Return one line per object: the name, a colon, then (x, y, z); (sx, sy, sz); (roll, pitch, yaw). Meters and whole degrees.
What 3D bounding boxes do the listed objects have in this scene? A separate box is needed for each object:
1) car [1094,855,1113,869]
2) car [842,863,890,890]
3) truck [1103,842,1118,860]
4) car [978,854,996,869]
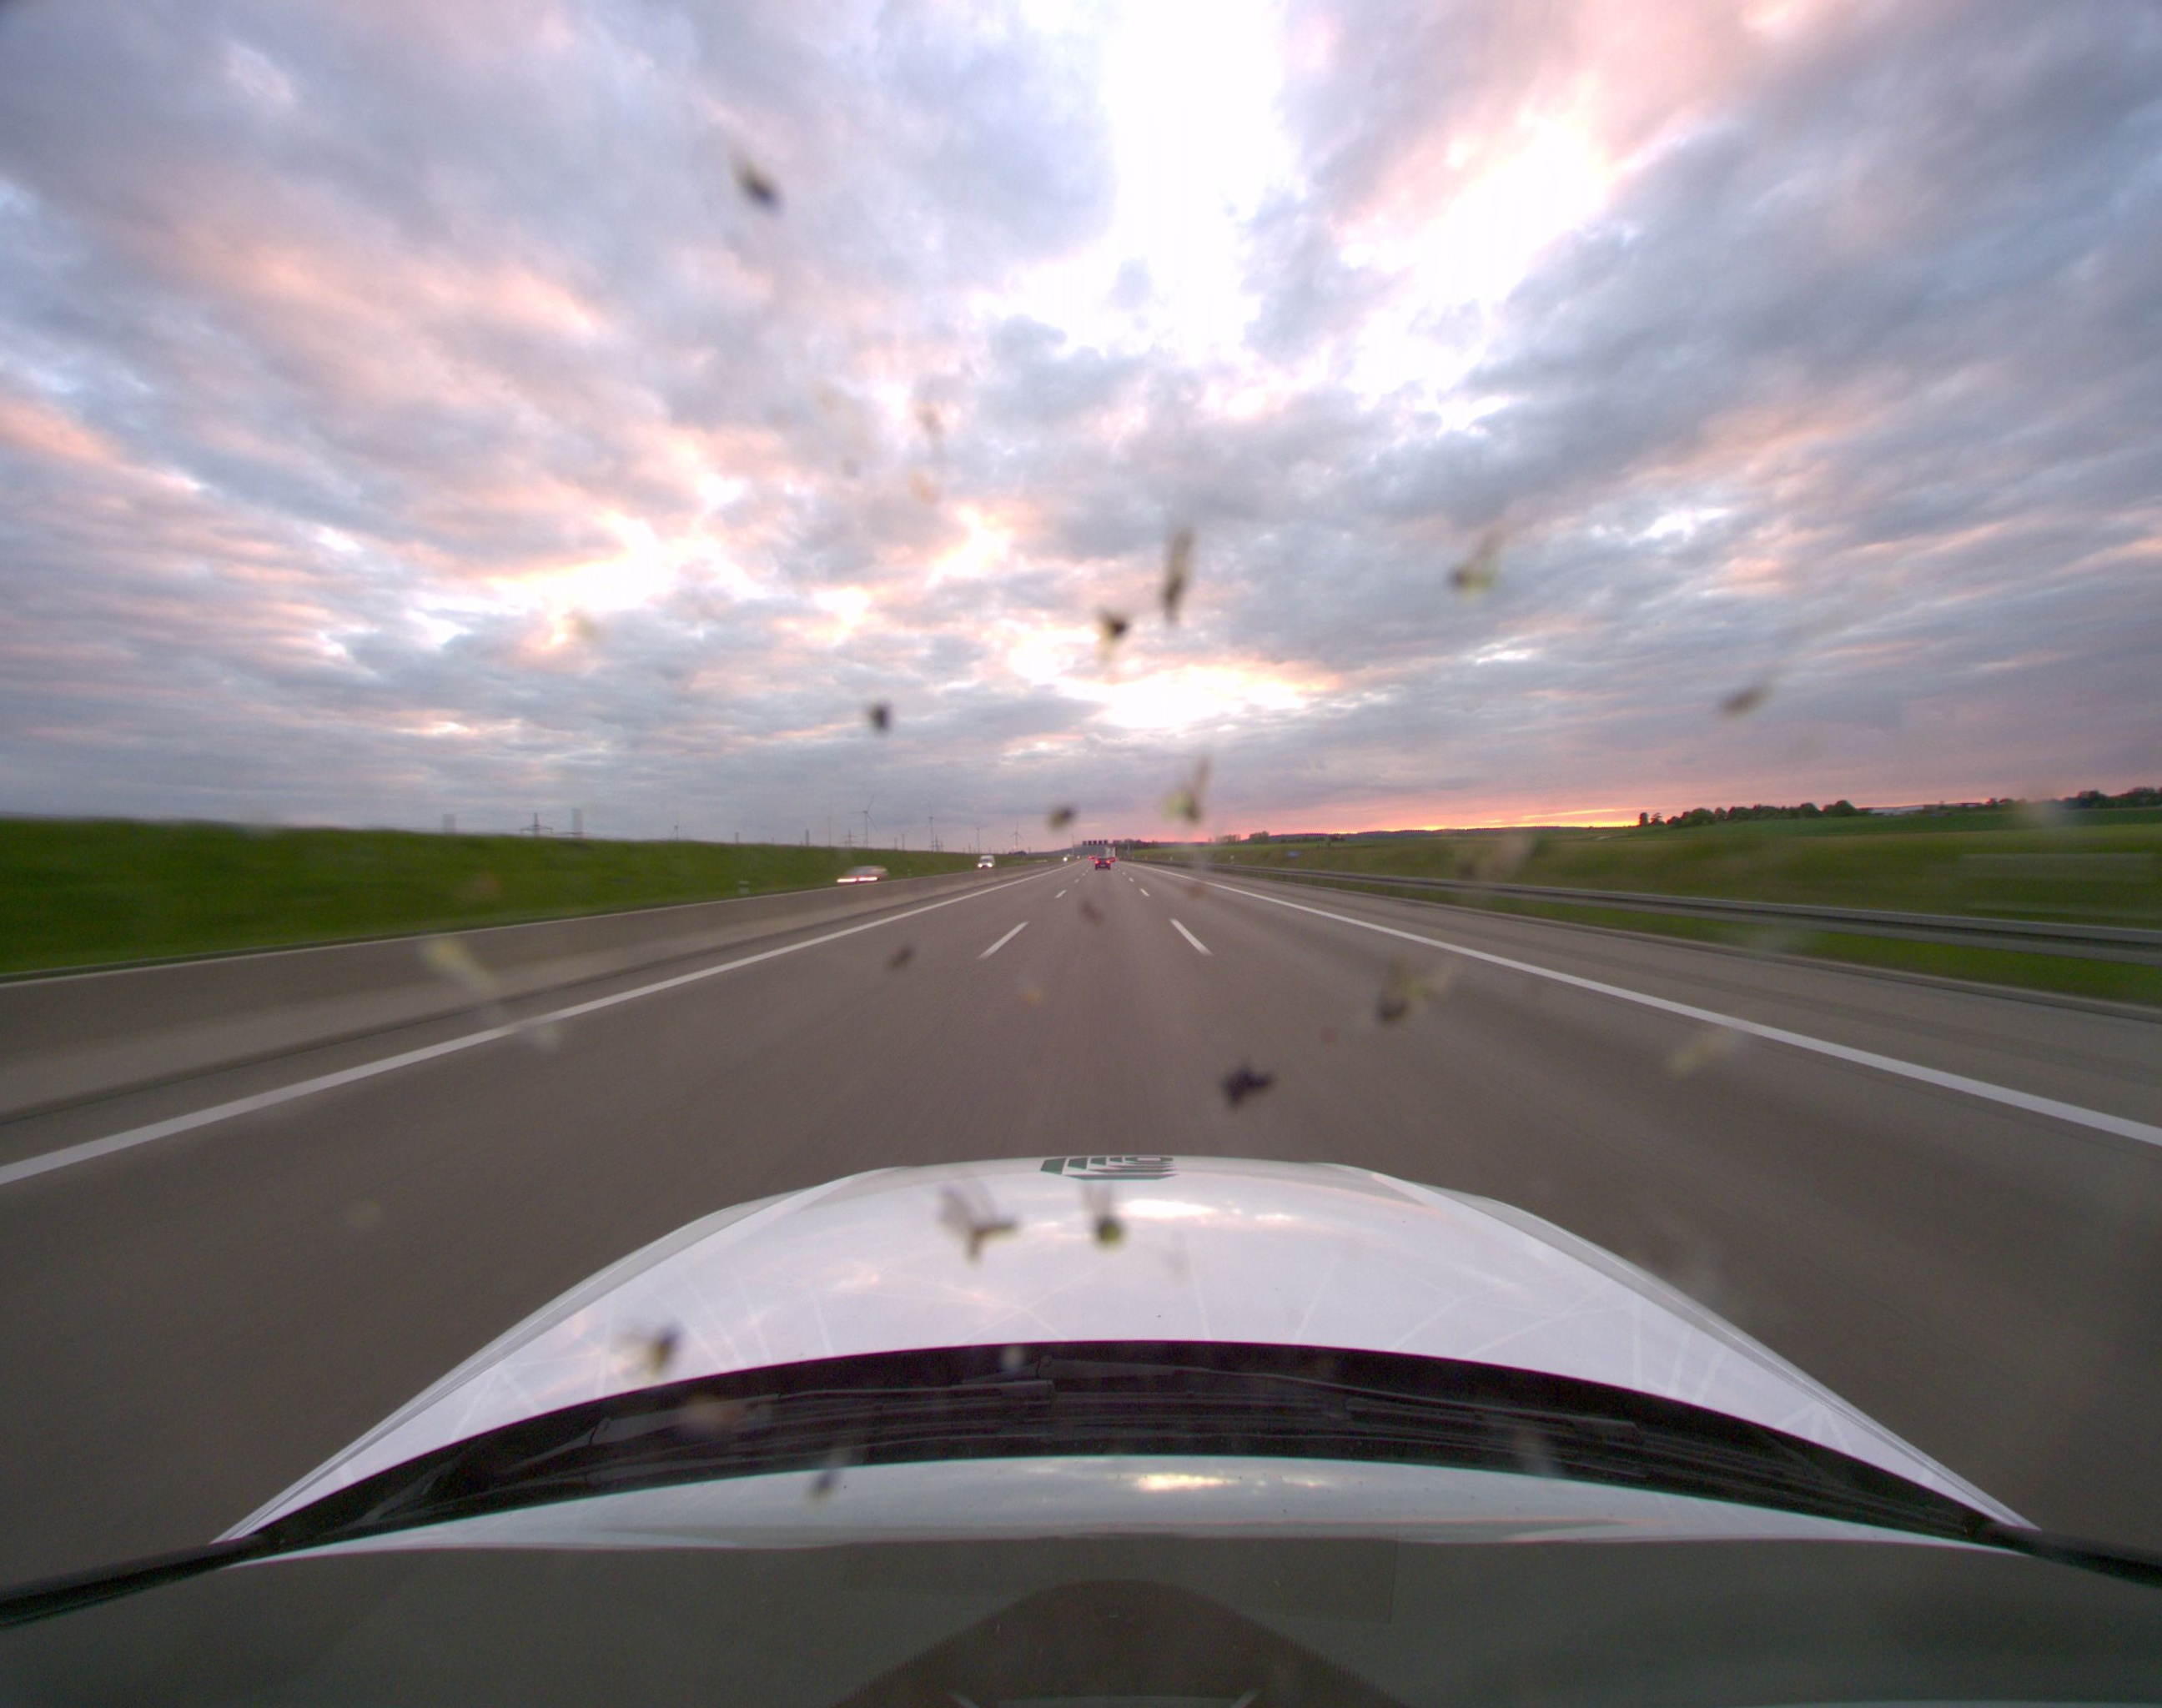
car: (2.604, 0.866, 92.687); (1.979, 1.429, 4.004); (-2, 0, 3)
car: (-13.865, 1.419, 52.755); (1.846, 1.592, 4.107); (-3, 0, 1)
truck: (8.054, -0.771, 224.243); (3.662, 4.565, 10.982); (-2, 0, 1)
car: (-16.225, 1.248, 141.180); (1.986, 2.546, 7.379); (-2, 0, 1)
